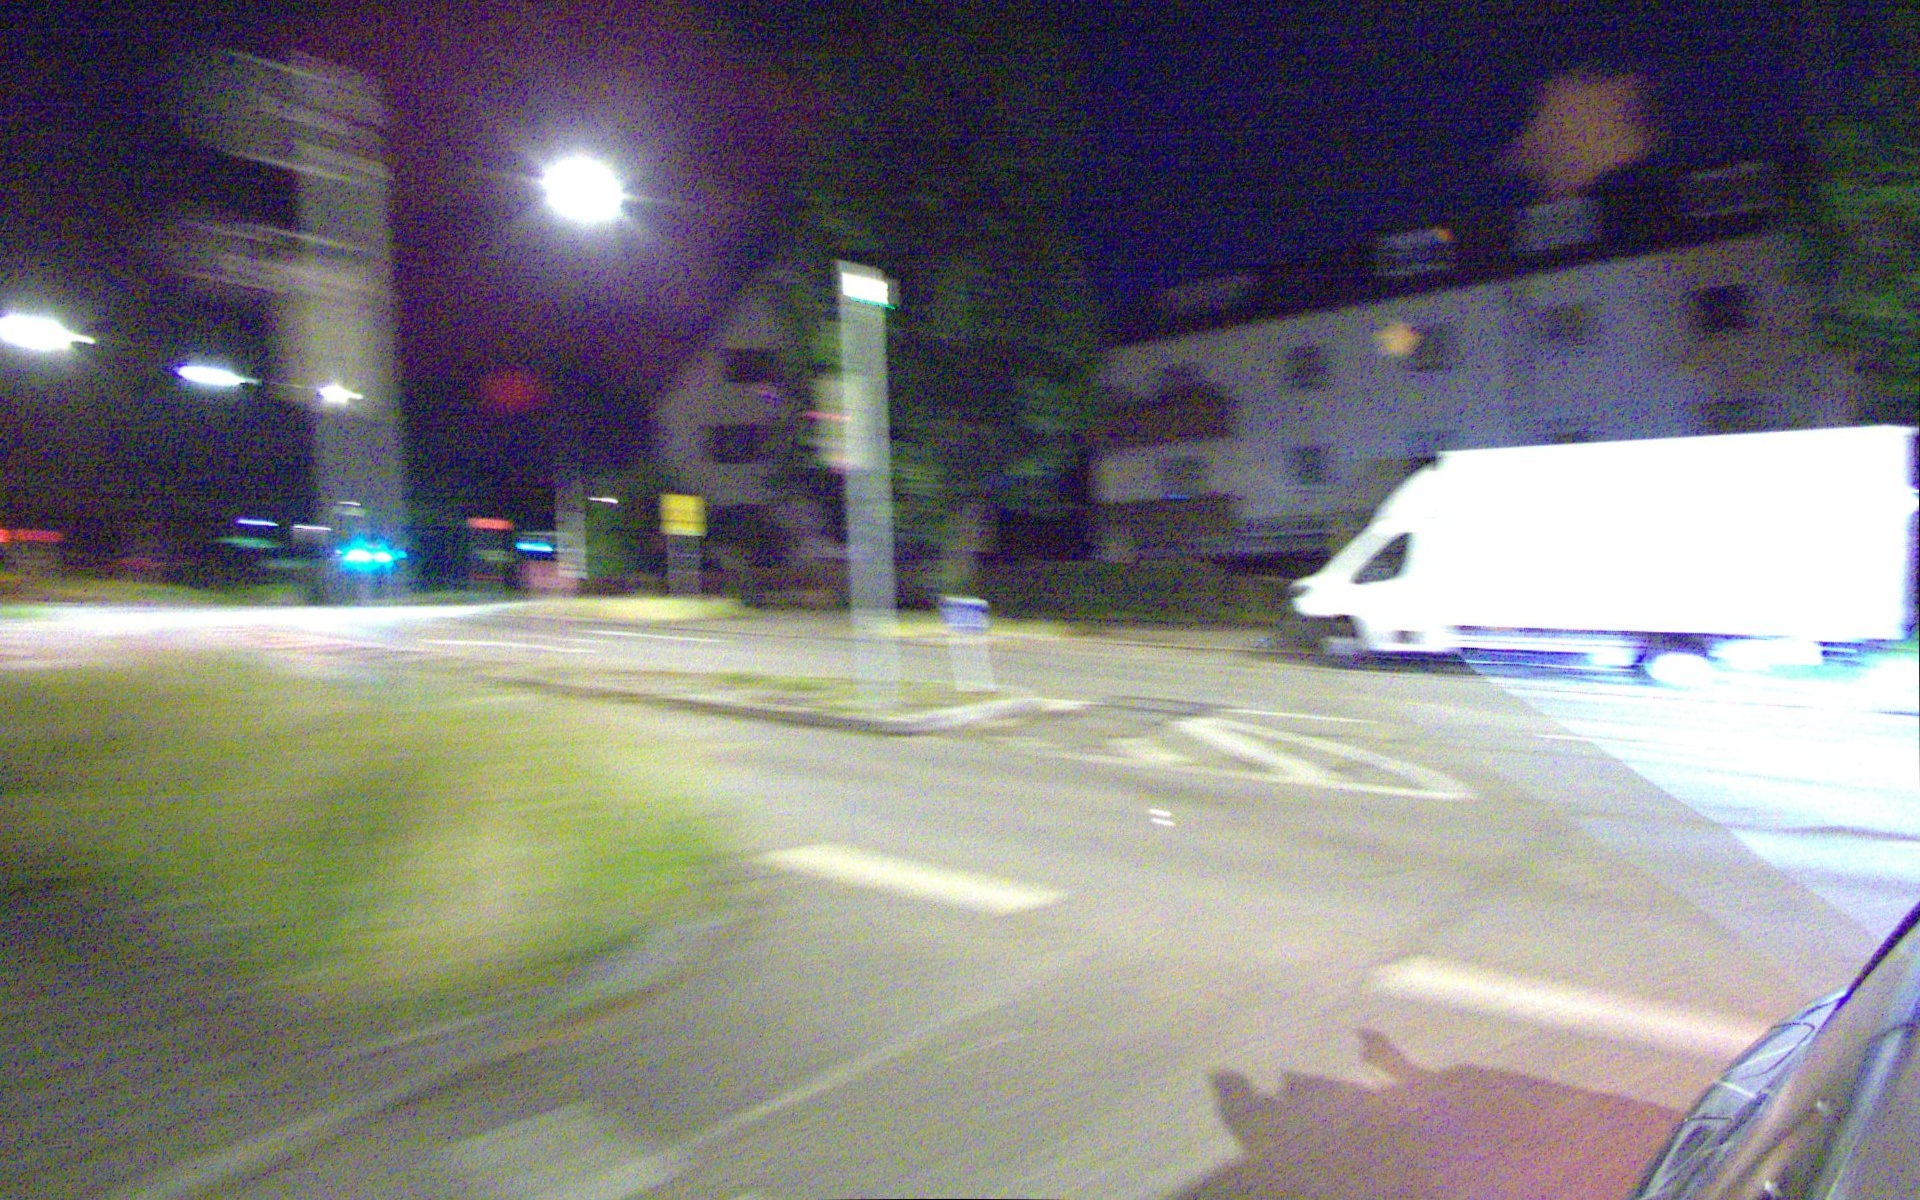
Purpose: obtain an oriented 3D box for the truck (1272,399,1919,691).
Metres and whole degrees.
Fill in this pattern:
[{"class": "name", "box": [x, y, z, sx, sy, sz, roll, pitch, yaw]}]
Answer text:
[{"class": "truck", "box": [8.112, -0.747, 13.678, 6.987, 3.080, 2.742, 1, 5, 34]}]
